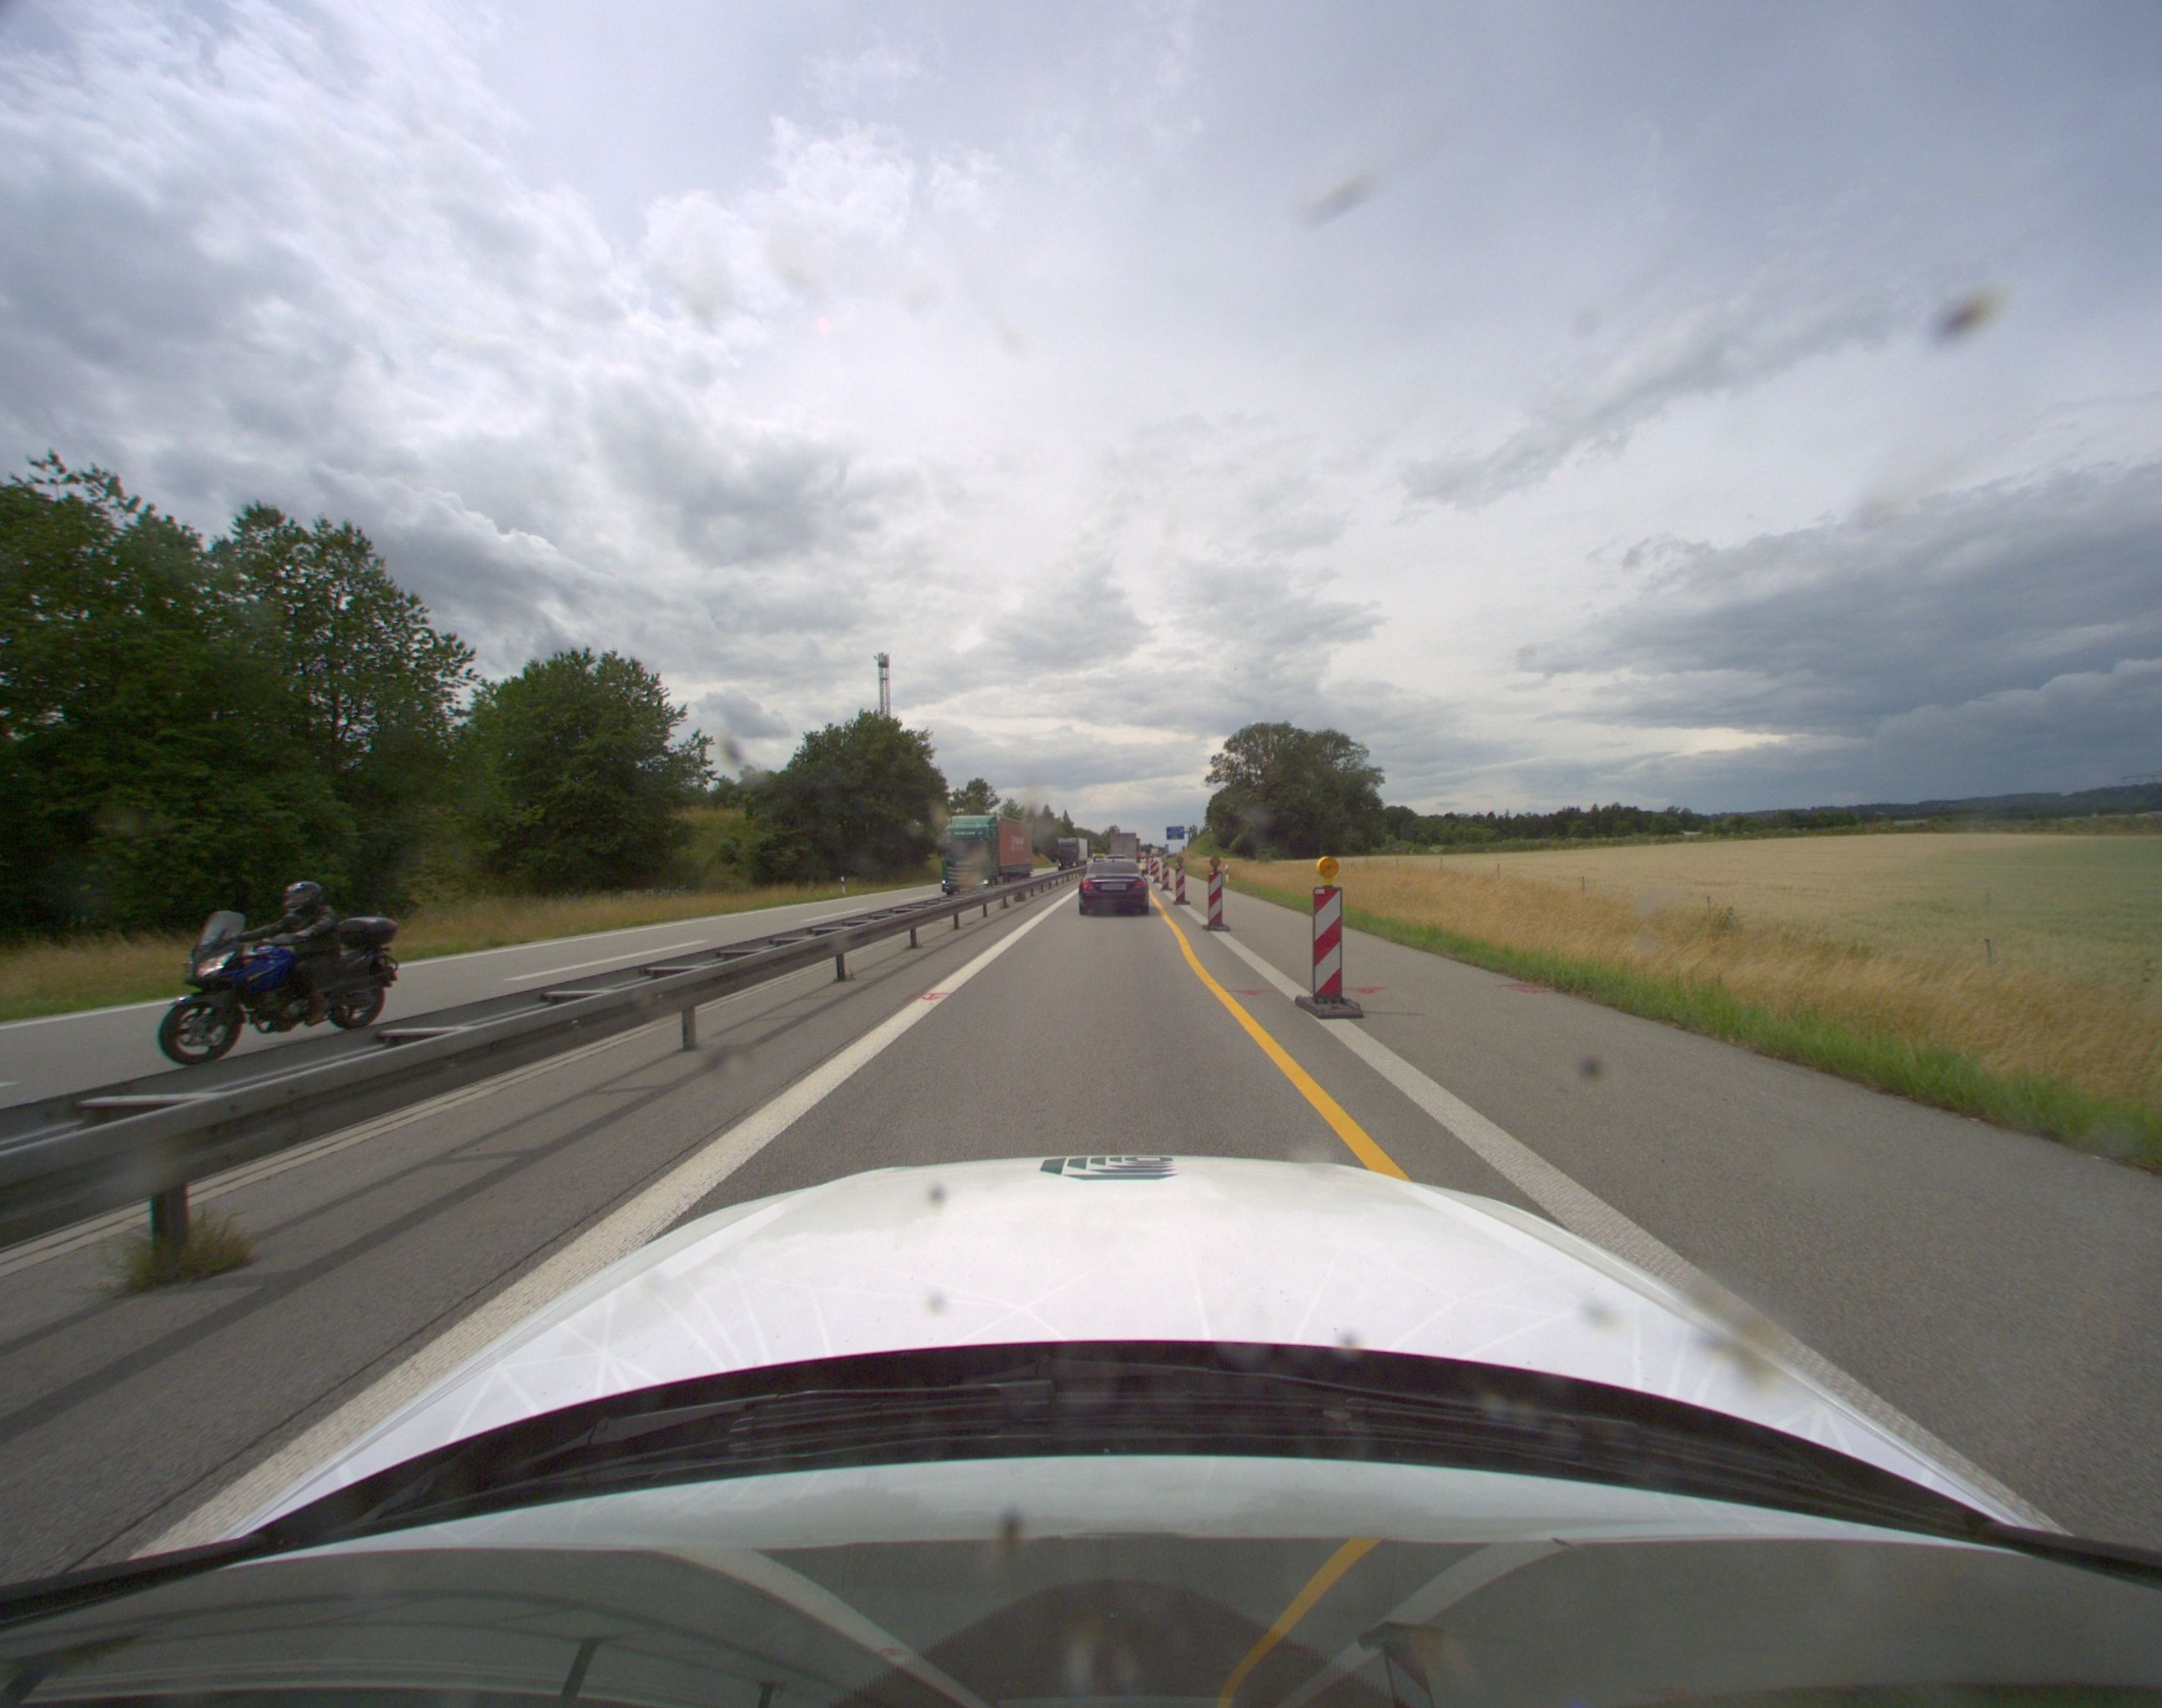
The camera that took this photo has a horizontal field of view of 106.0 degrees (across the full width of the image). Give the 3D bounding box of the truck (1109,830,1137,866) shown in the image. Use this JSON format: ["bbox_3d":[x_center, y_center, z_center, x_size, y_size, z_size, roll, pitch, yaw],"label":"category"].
[{"bbox_3d":[4.172,-0.533,81.247,2.578,3.525,4.813,0,-1,1],"label":"truck"}]

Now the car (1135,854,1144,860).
[{"bbox_3d":[13.839,0.628,193.222,1.645,1.396,3.703,0,-1,-2],"label":"car"}]

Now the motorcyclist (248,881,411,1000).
[{"bbox_3d":[-8.187,0.909,8.924,0.858,1.209,0.961,0,-1,1],"label":"motorcyclist"}]

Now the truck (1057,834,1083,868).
[{"bbox_3d":[-1.308,-0.328,102.473,2.628,4.170,6.992,0,-1,4],"label":"truck"}]

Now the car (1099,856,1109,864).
[{"bbox_3d":[5.040,1.303,178.407,1.985,1.618,4.003,0,-1,3],"label":"car"}]

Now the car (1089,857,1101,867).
[{"bbox_3d":[2.551,1.463,147.094,1.985,1.618,4.003,0,-1,3],"label":"car"}]

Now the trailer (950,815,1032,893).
[{"bbox_3d":[-5.234,0.077,50.038,3.138,4.213,11.650,0,-1,3],"label":"trailer"}]

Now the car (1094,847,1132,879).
[{"bbox_3d":[2.085,0.608,54.457,1.991,2.014,3.991,0,-1,-7],"label":"car"}]

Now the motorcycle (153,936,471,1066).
[{"bbox_3d":[-8.180,1.506,8.944,0.852,0.934,2.725,0,0,2],"label":"motorcycle"}]

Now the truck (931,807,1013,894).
[{"bbox_3d":[-5.582,-0.114,42.956,3.110,4.213,6.785,0,-1,3],"label":"truck"}]

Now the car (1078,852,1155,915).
[{"bbox_3d":[1.072,0.762,22.365,1.786,1.560,4.007,-1,-1,7],"label":"car"}]
